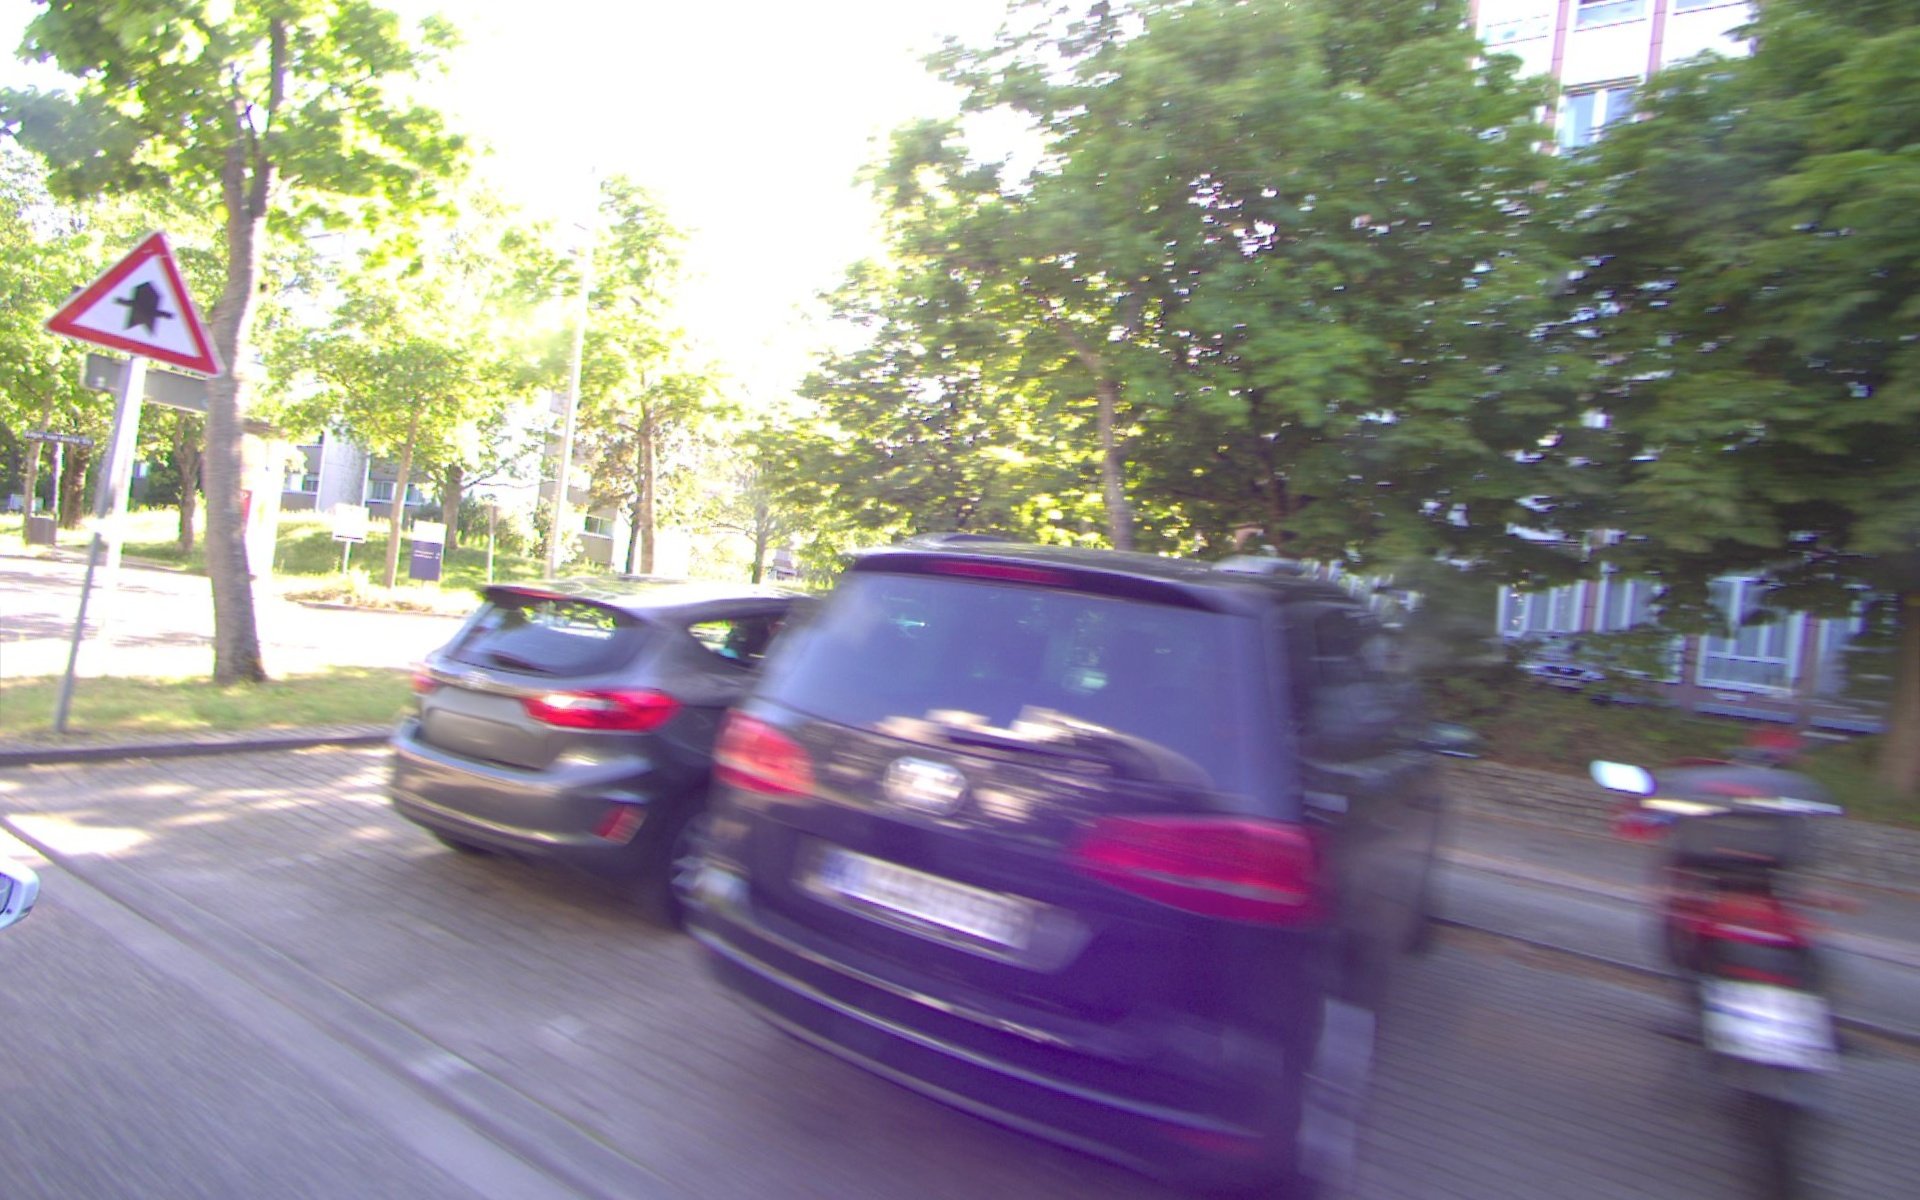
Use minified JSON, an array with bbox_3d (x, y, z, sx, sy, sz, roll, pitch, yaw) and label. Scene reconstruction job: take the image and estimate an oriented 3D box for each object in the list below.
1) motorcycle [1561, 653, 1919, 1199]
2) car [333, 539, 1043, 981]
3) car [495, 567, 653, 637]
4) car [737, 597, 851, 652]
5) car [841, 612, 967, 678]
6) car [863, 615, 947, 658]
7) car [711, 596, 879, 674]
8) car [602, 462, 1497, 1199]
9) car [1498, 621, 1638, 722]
[{"bbox_3d":[2.716,1.055,3.622,0.754,1.600,2.310,7,0,32],"label":"motorcycle"},{"bbox_3d":[-1.091,0.618,5.703,1.564,1.466,3.838,9,3,28],"label":"car"},{"bbox_3d":[-11.302,0.095,29.738,1.804,1.548,3.995,7,-1,30],"label":"car"},{"bbox_3d":[-6.360,0.996,39.036,1.804,1.637,4.455,6,-2,30],"label":"car"},{"bbox_3d":[-1.528,1.335,28.945,1.623,1.486,3.853,6,-2,30],"label":"car"},{"bbox_3d":[-2.454,1.690,45.796,1.804,1.518,4.015,6,-2,30],"label":"car"},{"bbox_3d":[-3.915,0.891,24.456,1.741,1.464,3.995,5,-3,32],"label":"car"},{"bbox_3d":[0.808,0.709,3.807,1.696,1.772,3.674,6,0,33],"label":"car"},{"bbox_3d":[11.493,1.376,19.270,1.693,1.524,4.236,7,-1,25],"label":"car"}]
